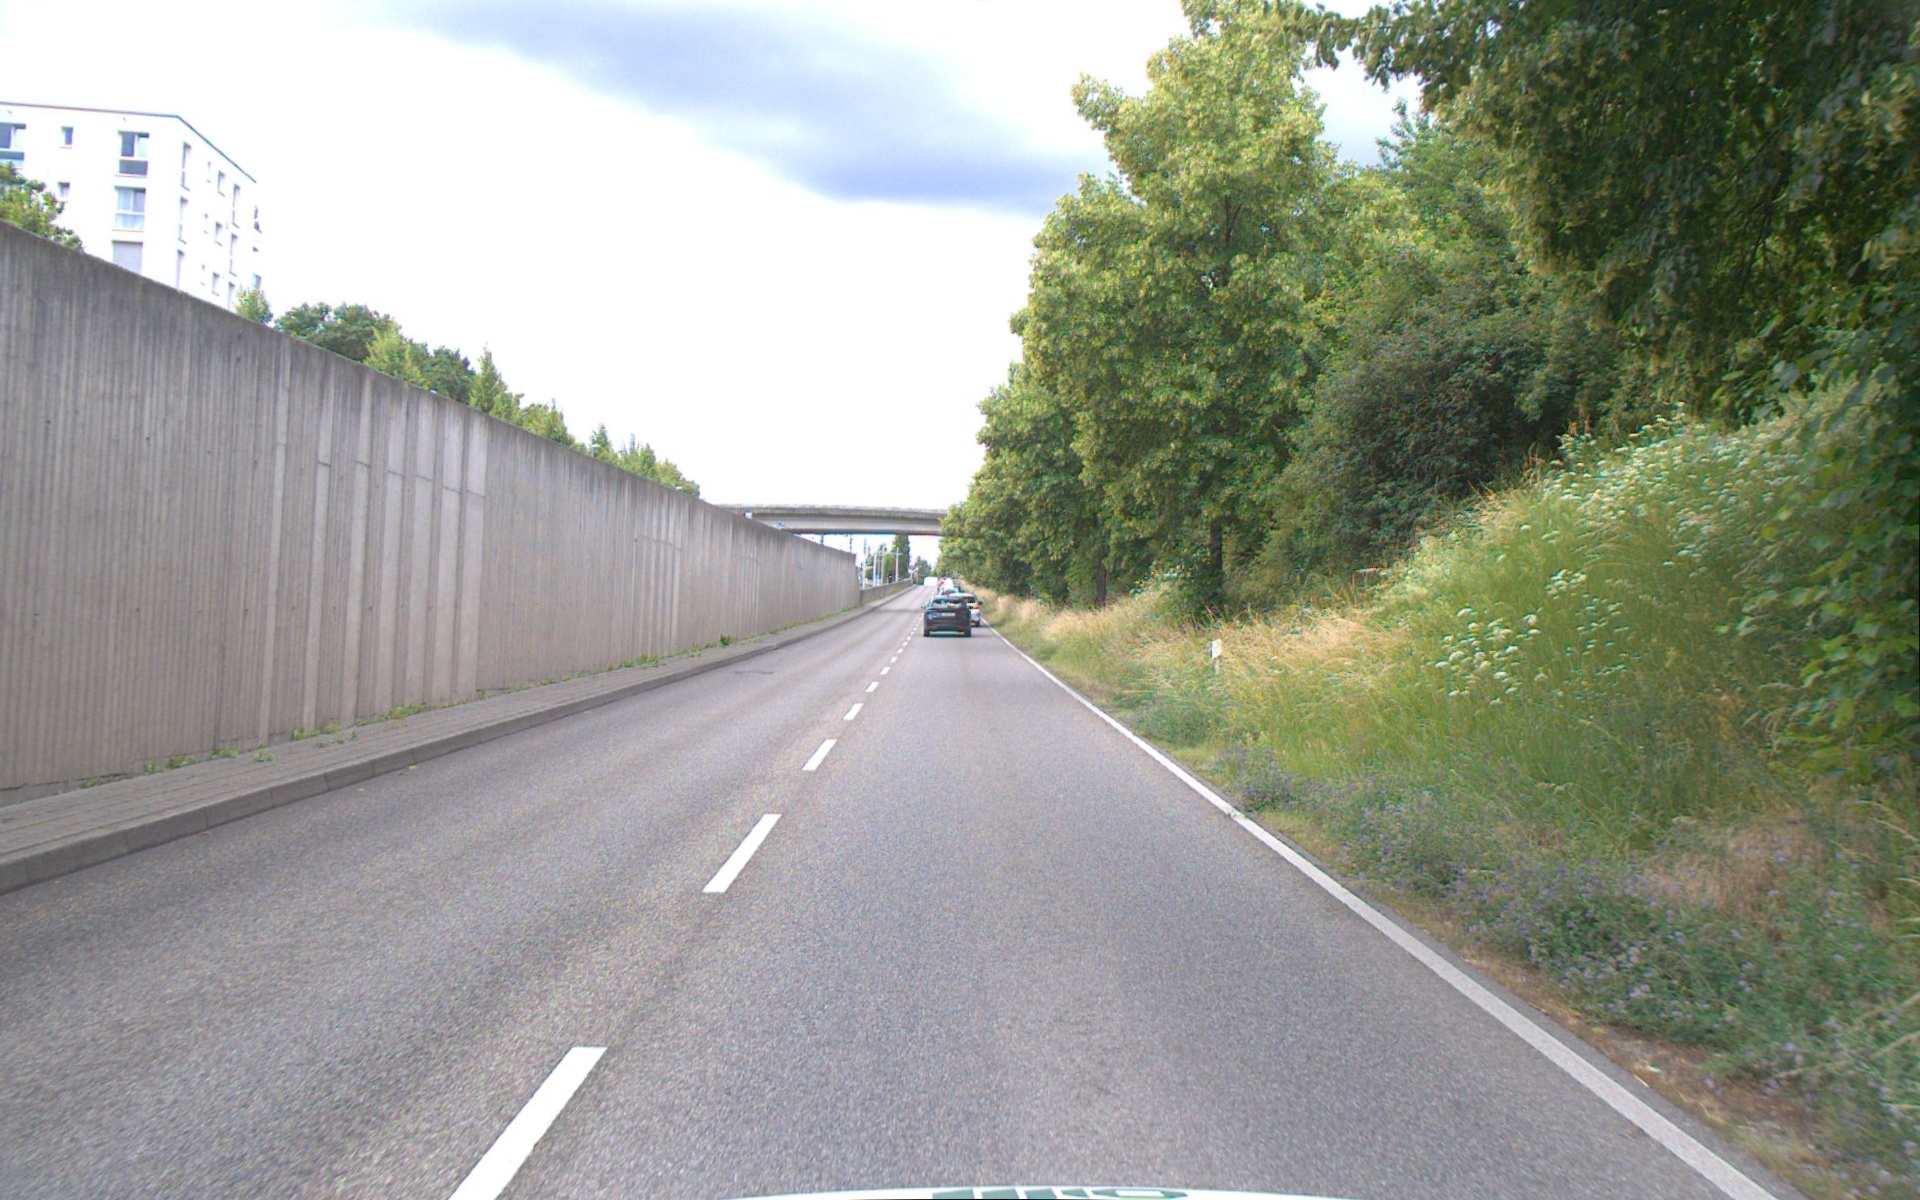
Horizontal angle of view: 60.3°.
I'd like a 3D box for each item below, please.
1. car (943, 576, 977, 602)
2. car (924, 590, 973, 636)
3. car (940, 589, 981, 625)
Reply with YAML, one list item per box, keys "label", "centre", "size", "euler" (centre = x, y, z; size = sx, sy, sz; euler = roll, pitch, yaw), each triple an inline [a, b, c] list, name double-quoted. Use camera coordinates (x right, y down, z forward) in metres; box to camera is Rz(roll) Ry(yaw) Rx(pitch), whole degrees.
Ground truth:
- label: "car"
  centre: [-0.023, -0.636, 98.233]
  size: [1.829, 1.516, 4.255]
  euler: [1, 0, -2]
- label: "car"
  centre: [-0.452, 0.469, 60.944]
  size: [1.718, 1.550, 4.036]
  euler: [1, 1, -1]
- label: "car"
  centre: [-0.003, 0.311, 75.821]
  size: [1.719, 1.550, 4.035]
  euler: [-1, 0, -2]
